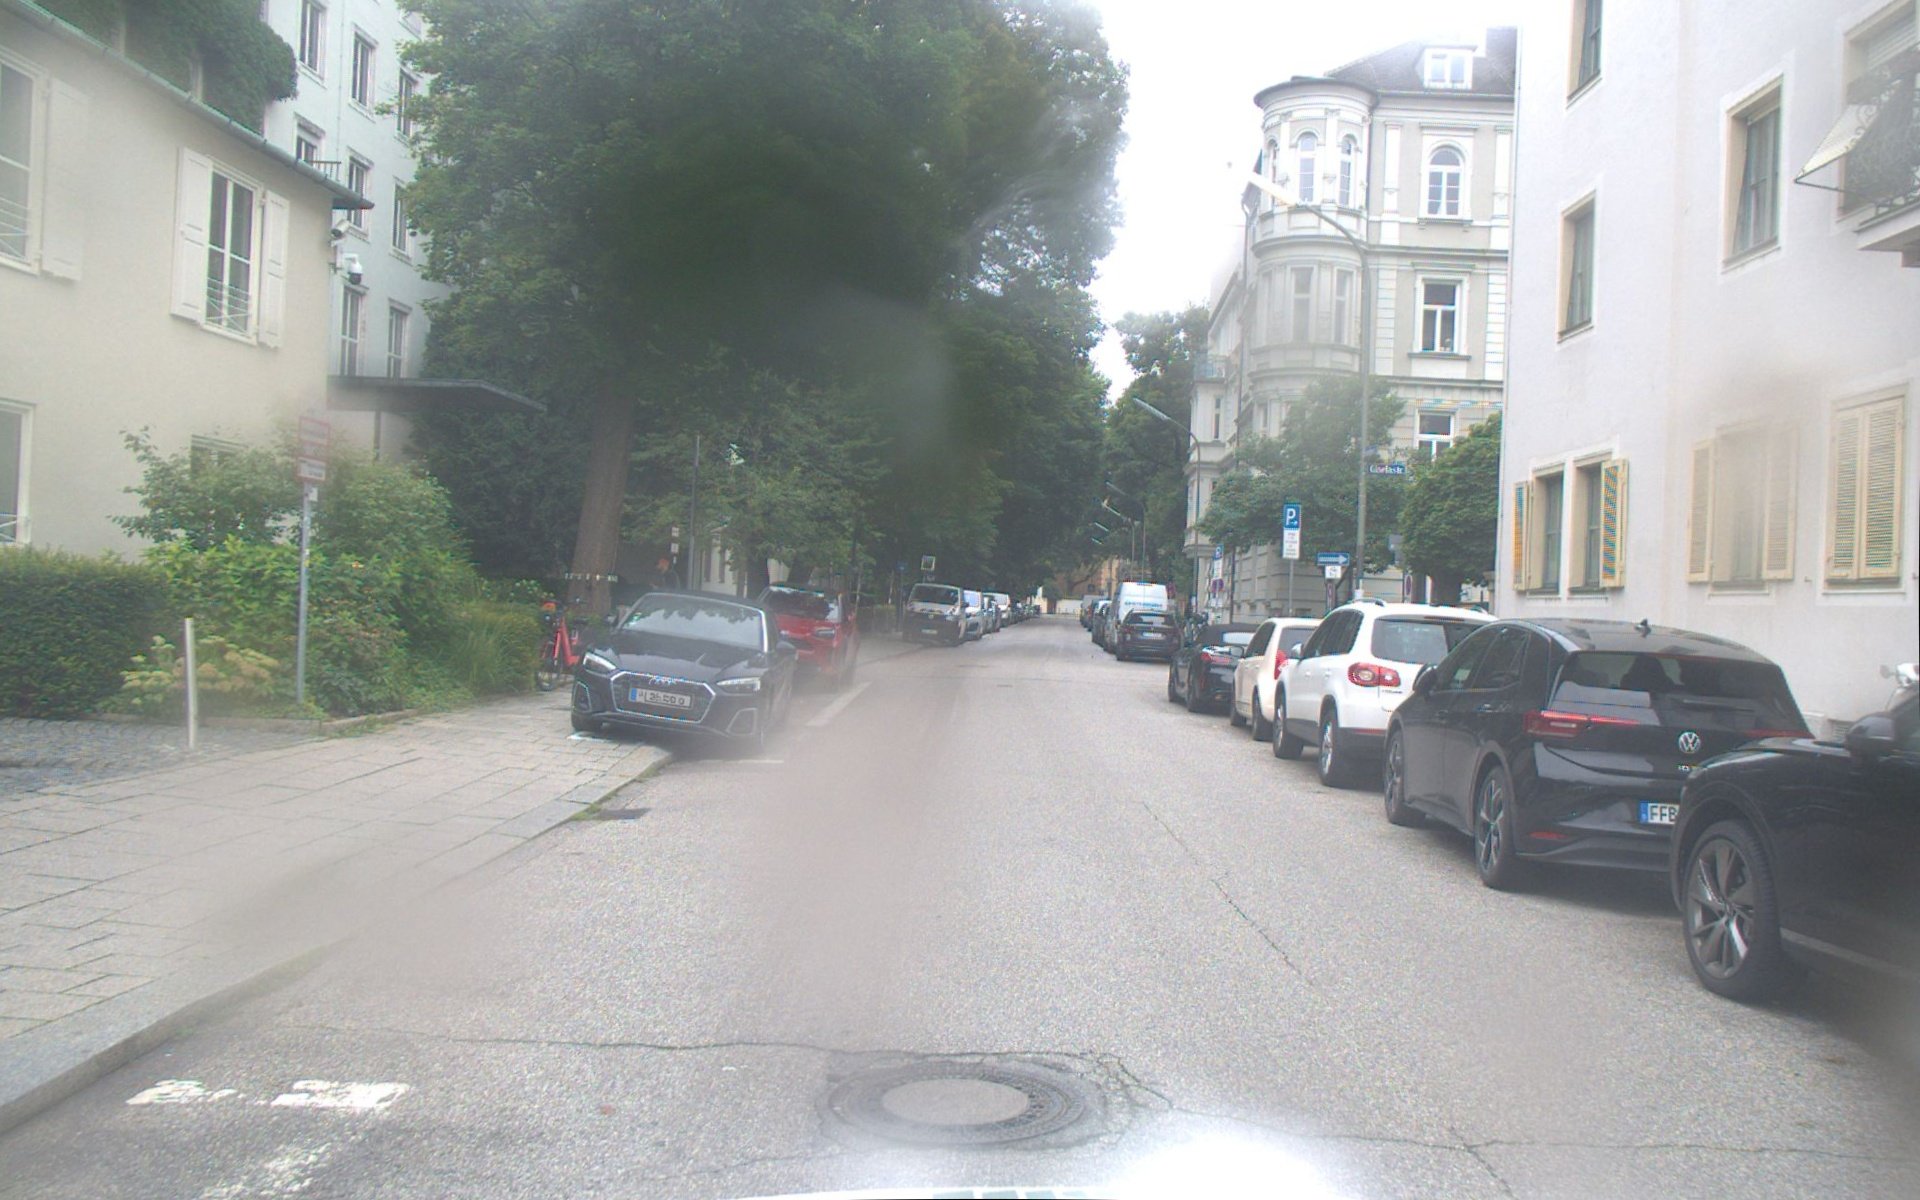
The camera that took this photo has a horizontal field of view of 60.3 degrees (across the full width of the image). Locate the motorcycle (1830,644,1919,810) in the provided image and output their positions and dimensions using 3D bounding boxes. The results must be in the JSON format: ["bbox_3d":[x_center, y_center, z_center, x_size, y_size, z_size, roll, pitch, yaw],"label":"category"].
[{"bbox_3d":[7.825,1.024,13.119,0.717,1.260,2.007,4,0,0],"label":"motorcycle"}]

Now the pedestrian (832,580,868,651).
[{"bbox_3d":[-2.550,0.347,38.354,0.699,1.575,0.752,4,0,-3],"label":"pedestrian"}]

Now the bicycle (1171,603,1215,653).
[{"bbox_3d":[7.621,0.897,54.185,0.695,1.542,2.032,2,0,-13],"label":"bicycle"}]

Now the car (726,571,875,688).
[{"bbox_3d":[-2.487,0.443,26.836,1.849,1.618,4.528,4,0,1],"label":"car"}]

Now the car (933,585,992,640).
[{"bbox_3d":[0.113,0.482,66.670,2.139,1.990,5.167,4,0,0],"label":"car"}]

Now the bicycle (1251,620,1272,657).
[{"bbox_3d":[9.119,1.156,49.967,0.534,1.079,1.752,2,0,12],"label":"bicycle"}]

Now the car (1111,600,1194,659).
[{"bbox_3d":[5.499,0.829,47.813,2.224,1.573,4.589,1,-1,5],"label":"car"}]

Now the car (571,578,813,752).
[{"bbox_3d":[-2.586,0.575,17.099,1.771,1.426,4.922,4,0,-2],"label":"car"}]

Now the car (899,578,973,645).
[{"bbox_3d":[-0.734,0.371,54.972,2.202,1.990,5.453,4,0,0],"label":"car"}]

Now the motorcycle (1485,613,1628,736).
[{"bbox_3d":[7.845,0.937,21.911,0.839,1.458,2.706,2,0,-1],"label":"motorcycle"}]

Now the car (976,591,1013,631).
[{"bbox_3d":[2.108,0.656,99.630,1.961,2.224,4.697,4,0,2],"label":"car"}]

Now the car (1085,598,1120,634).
[{"bbox_3d":[8.409,0.943,97.765,1.951,2.010,4.002,2,0,5],"label":"car"}]

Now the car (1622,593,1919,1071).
[{"bbox_3d":[4.153,0.803,5.459,1.823,1.604,4.898,2,0,-2],"label":"car"}]

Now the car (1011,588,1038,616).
[{"bbox_3d":[5.390,0.140,139.505,2.006,2.192,4.314,4,0,0],"label":"car"}]

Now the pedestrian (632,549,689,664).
[{"bbox_3d":[-5.095,0.111,28.192,0.698,1.884,0.797,4,-1,1],"label":"pedestrian"}]

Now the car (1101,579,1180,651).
[{"bbox_3d":[5.914,0.502,54.771,2.158,2.247,4.856,1,-1,1],"label":"car"}]

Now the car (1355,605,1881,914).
[{"bbox_3d":[3.980,0.841,10.898,1.800,1.558,4.416,2,0,2],"label":"car"}]

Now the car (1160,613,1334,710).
[{"bbox_3d":[4.341,0.891,25.700,1.959,1.342,4.595,0,0,1],"label":"car"}]

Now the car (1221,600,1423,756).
[{"bbox_3d":[4.441,0.899,20.820,1.735,1.572,3.713,7,0,3],"label":"car"}]

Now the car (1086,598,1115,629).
[{"bbox_3d":[9.924,0.938,116.908,1.951,2.049,4.002,2,0,5],"label":"car"}]

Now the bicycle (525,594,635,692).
[{"bbox_3d":[-4.738,0.514,20.777,0.635,1.150,2.049,2,0,7],"label":"bicycle"}]

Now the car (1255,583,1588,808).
[{"bbox_3d":[4.291,0.803,16.199,1.953,1.736,4.535,4,0,1],"label":"car"}]
